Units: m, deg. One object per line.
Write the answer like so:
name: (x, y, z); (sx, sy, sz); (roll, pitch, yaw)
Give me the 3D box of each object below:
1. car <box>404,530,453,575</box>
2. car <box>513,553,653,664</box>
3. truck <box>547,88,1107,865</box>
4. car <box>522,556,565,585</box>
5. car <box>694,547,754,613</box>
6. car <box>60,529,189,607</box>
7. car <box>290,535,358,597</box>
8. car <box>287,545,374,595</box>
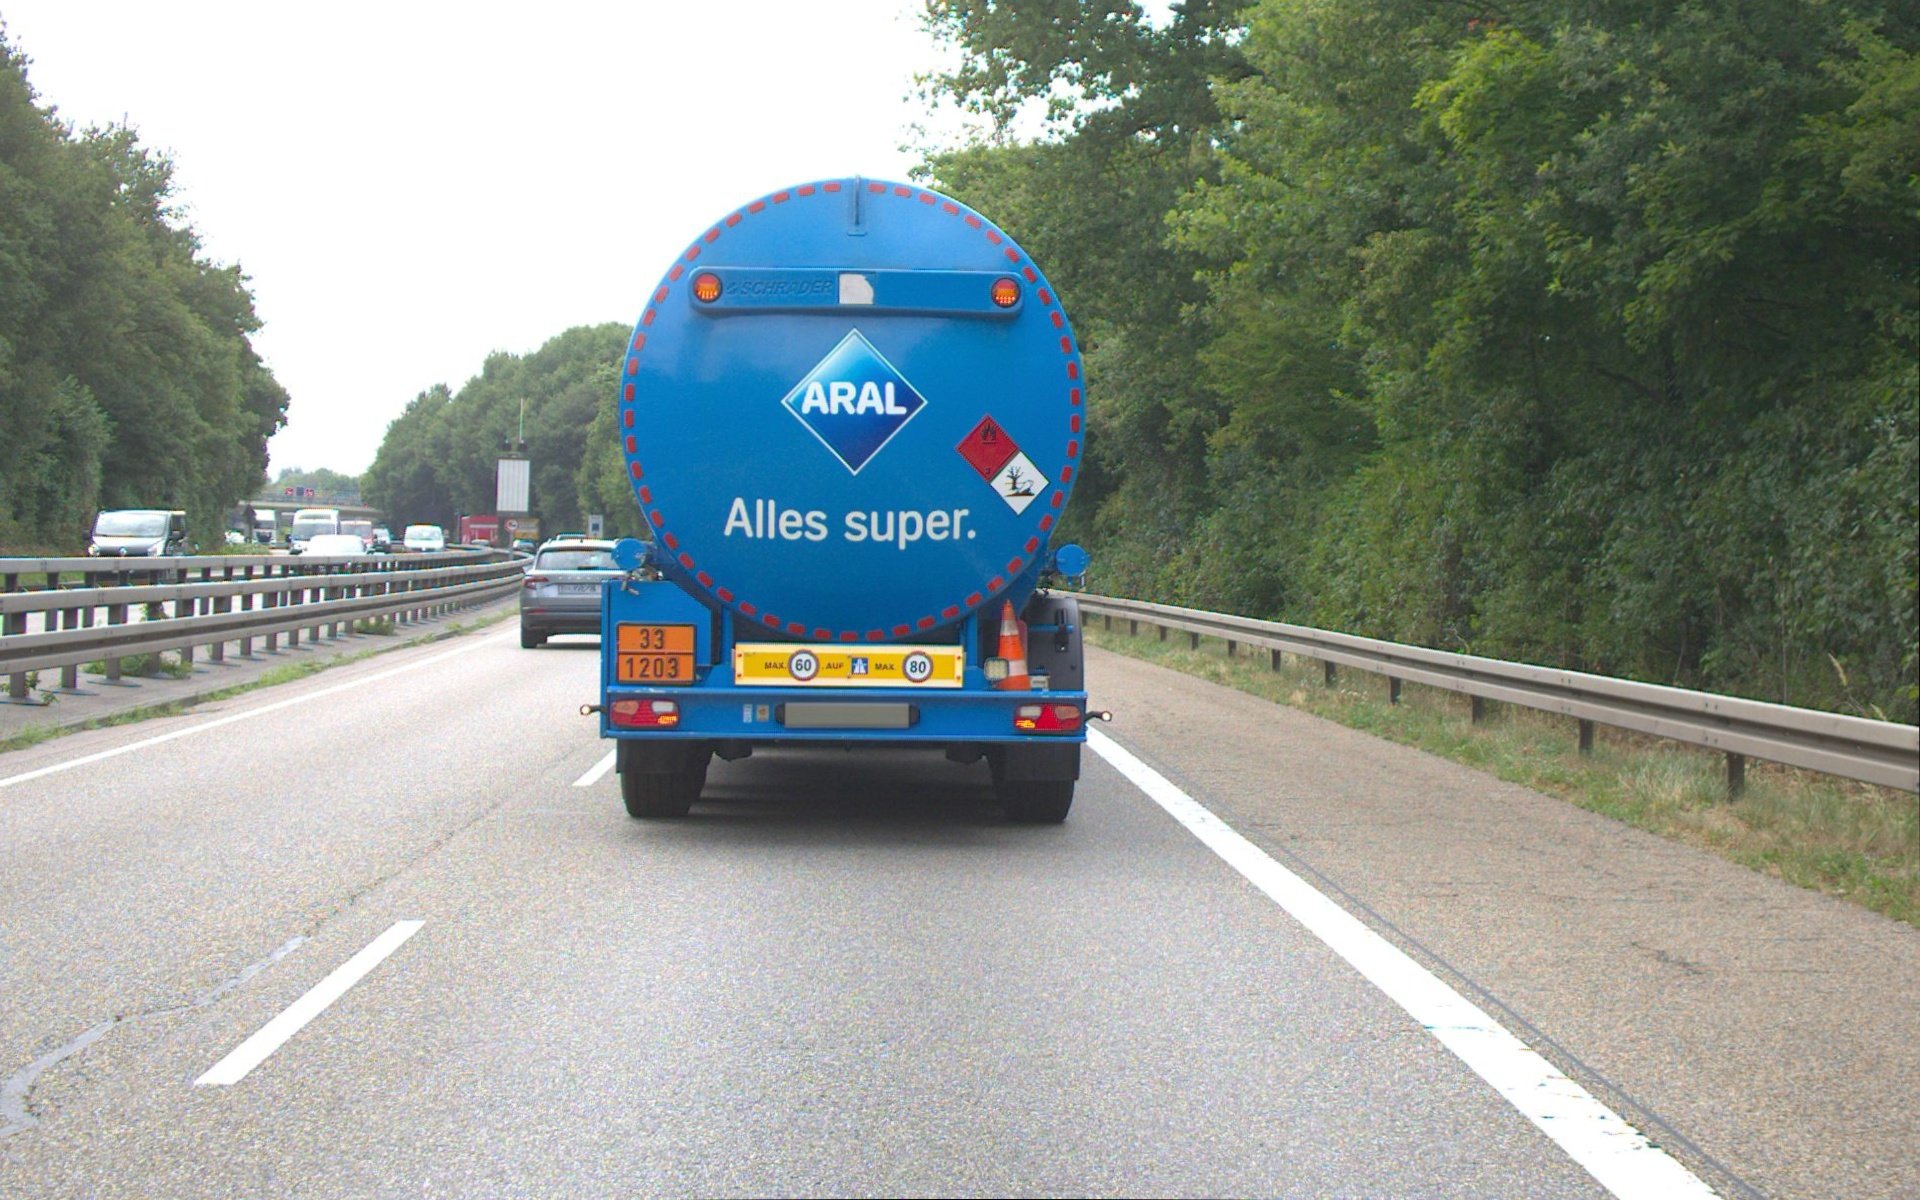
car: (-24.310, -2.160, 157.340); (1.821, 1.976, 5.058); (0, 0, -4)
car: (-5.637, 0.113, 51.824); (1.826, 1.604, 4.168); (0, 0, -2)
truck: (-0.698, -0.654, 20.868); (2.755, 3.833, 7.689); (0, 1, -1)
car: (-22.103, -1.555, 182.516); (1.993, 1.547, 4.001); (0, 0, -11)
car: (-8.193, -0.702, 119.679); (1.993, 2.237, 4.000); (0, 0, -3)
car: (-20.077, -0.756, 82.803); (2.035, 1.798, 5.124); (0, 0, -2)
car: (-27.392, -1.443, 148.245); (2.311, 2.602, 5.554); (0, 0, -4)
car: (-16.894, -0.806, 92.439); (1.655, 1.274, 4.713); (1, 0, -2)
